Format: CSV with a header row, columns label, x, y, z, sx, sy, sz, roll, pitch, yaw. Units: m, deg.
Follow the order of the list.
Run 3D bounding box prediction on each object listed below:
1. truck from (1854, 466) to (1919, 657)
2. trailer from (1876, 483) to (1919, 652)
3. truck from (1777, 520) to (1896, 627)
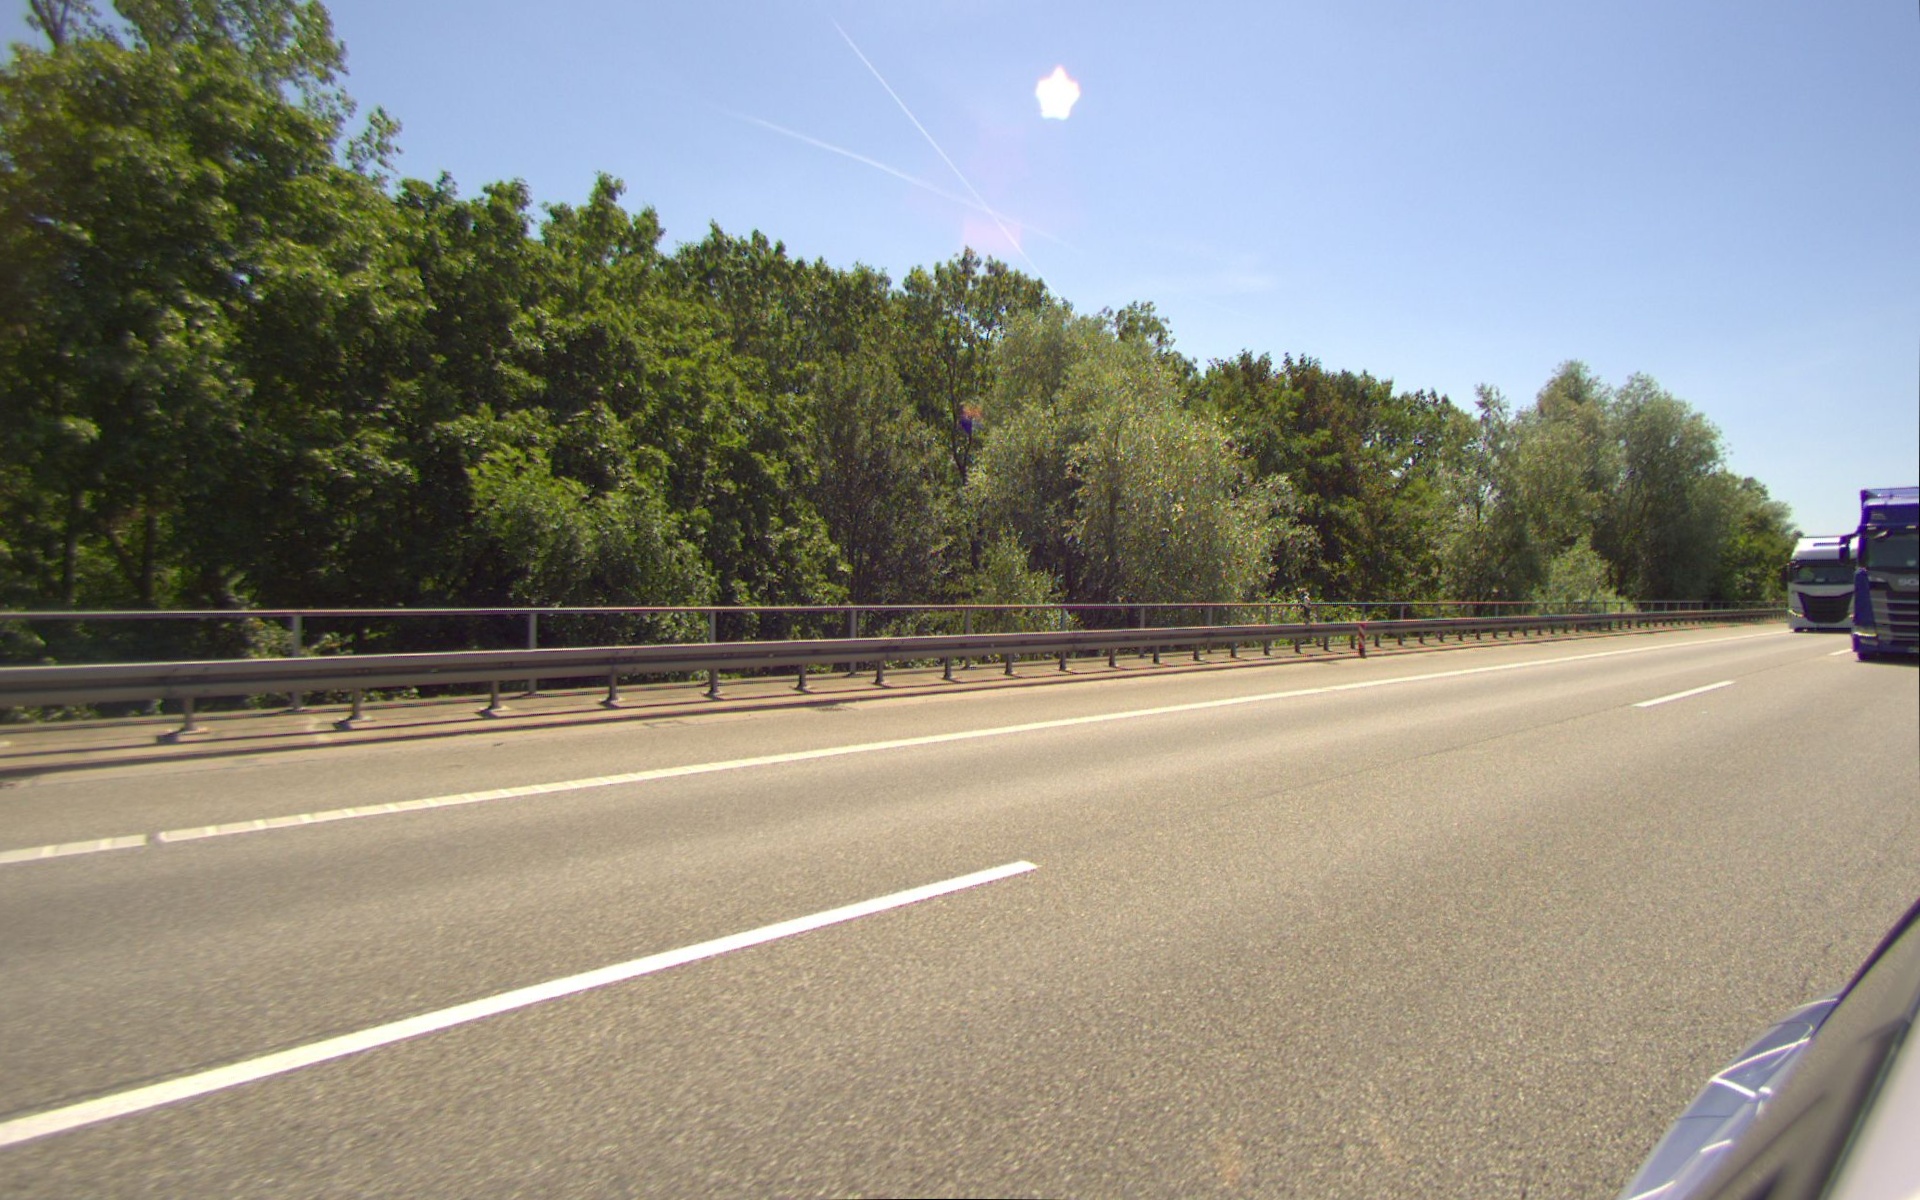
label,x,y,z,sx,sy,sz,roll,pitch,yaw
truck,23.574,-0.842,24.122,6.871,4.170,2.704,0,0,-43
trailer,28.458,-0.812,28.636,11.925,4.170,2.704,0,0,-43
truck,38.421,-1.061,44.196,10.270,4.216,2.816,0,0,-43
